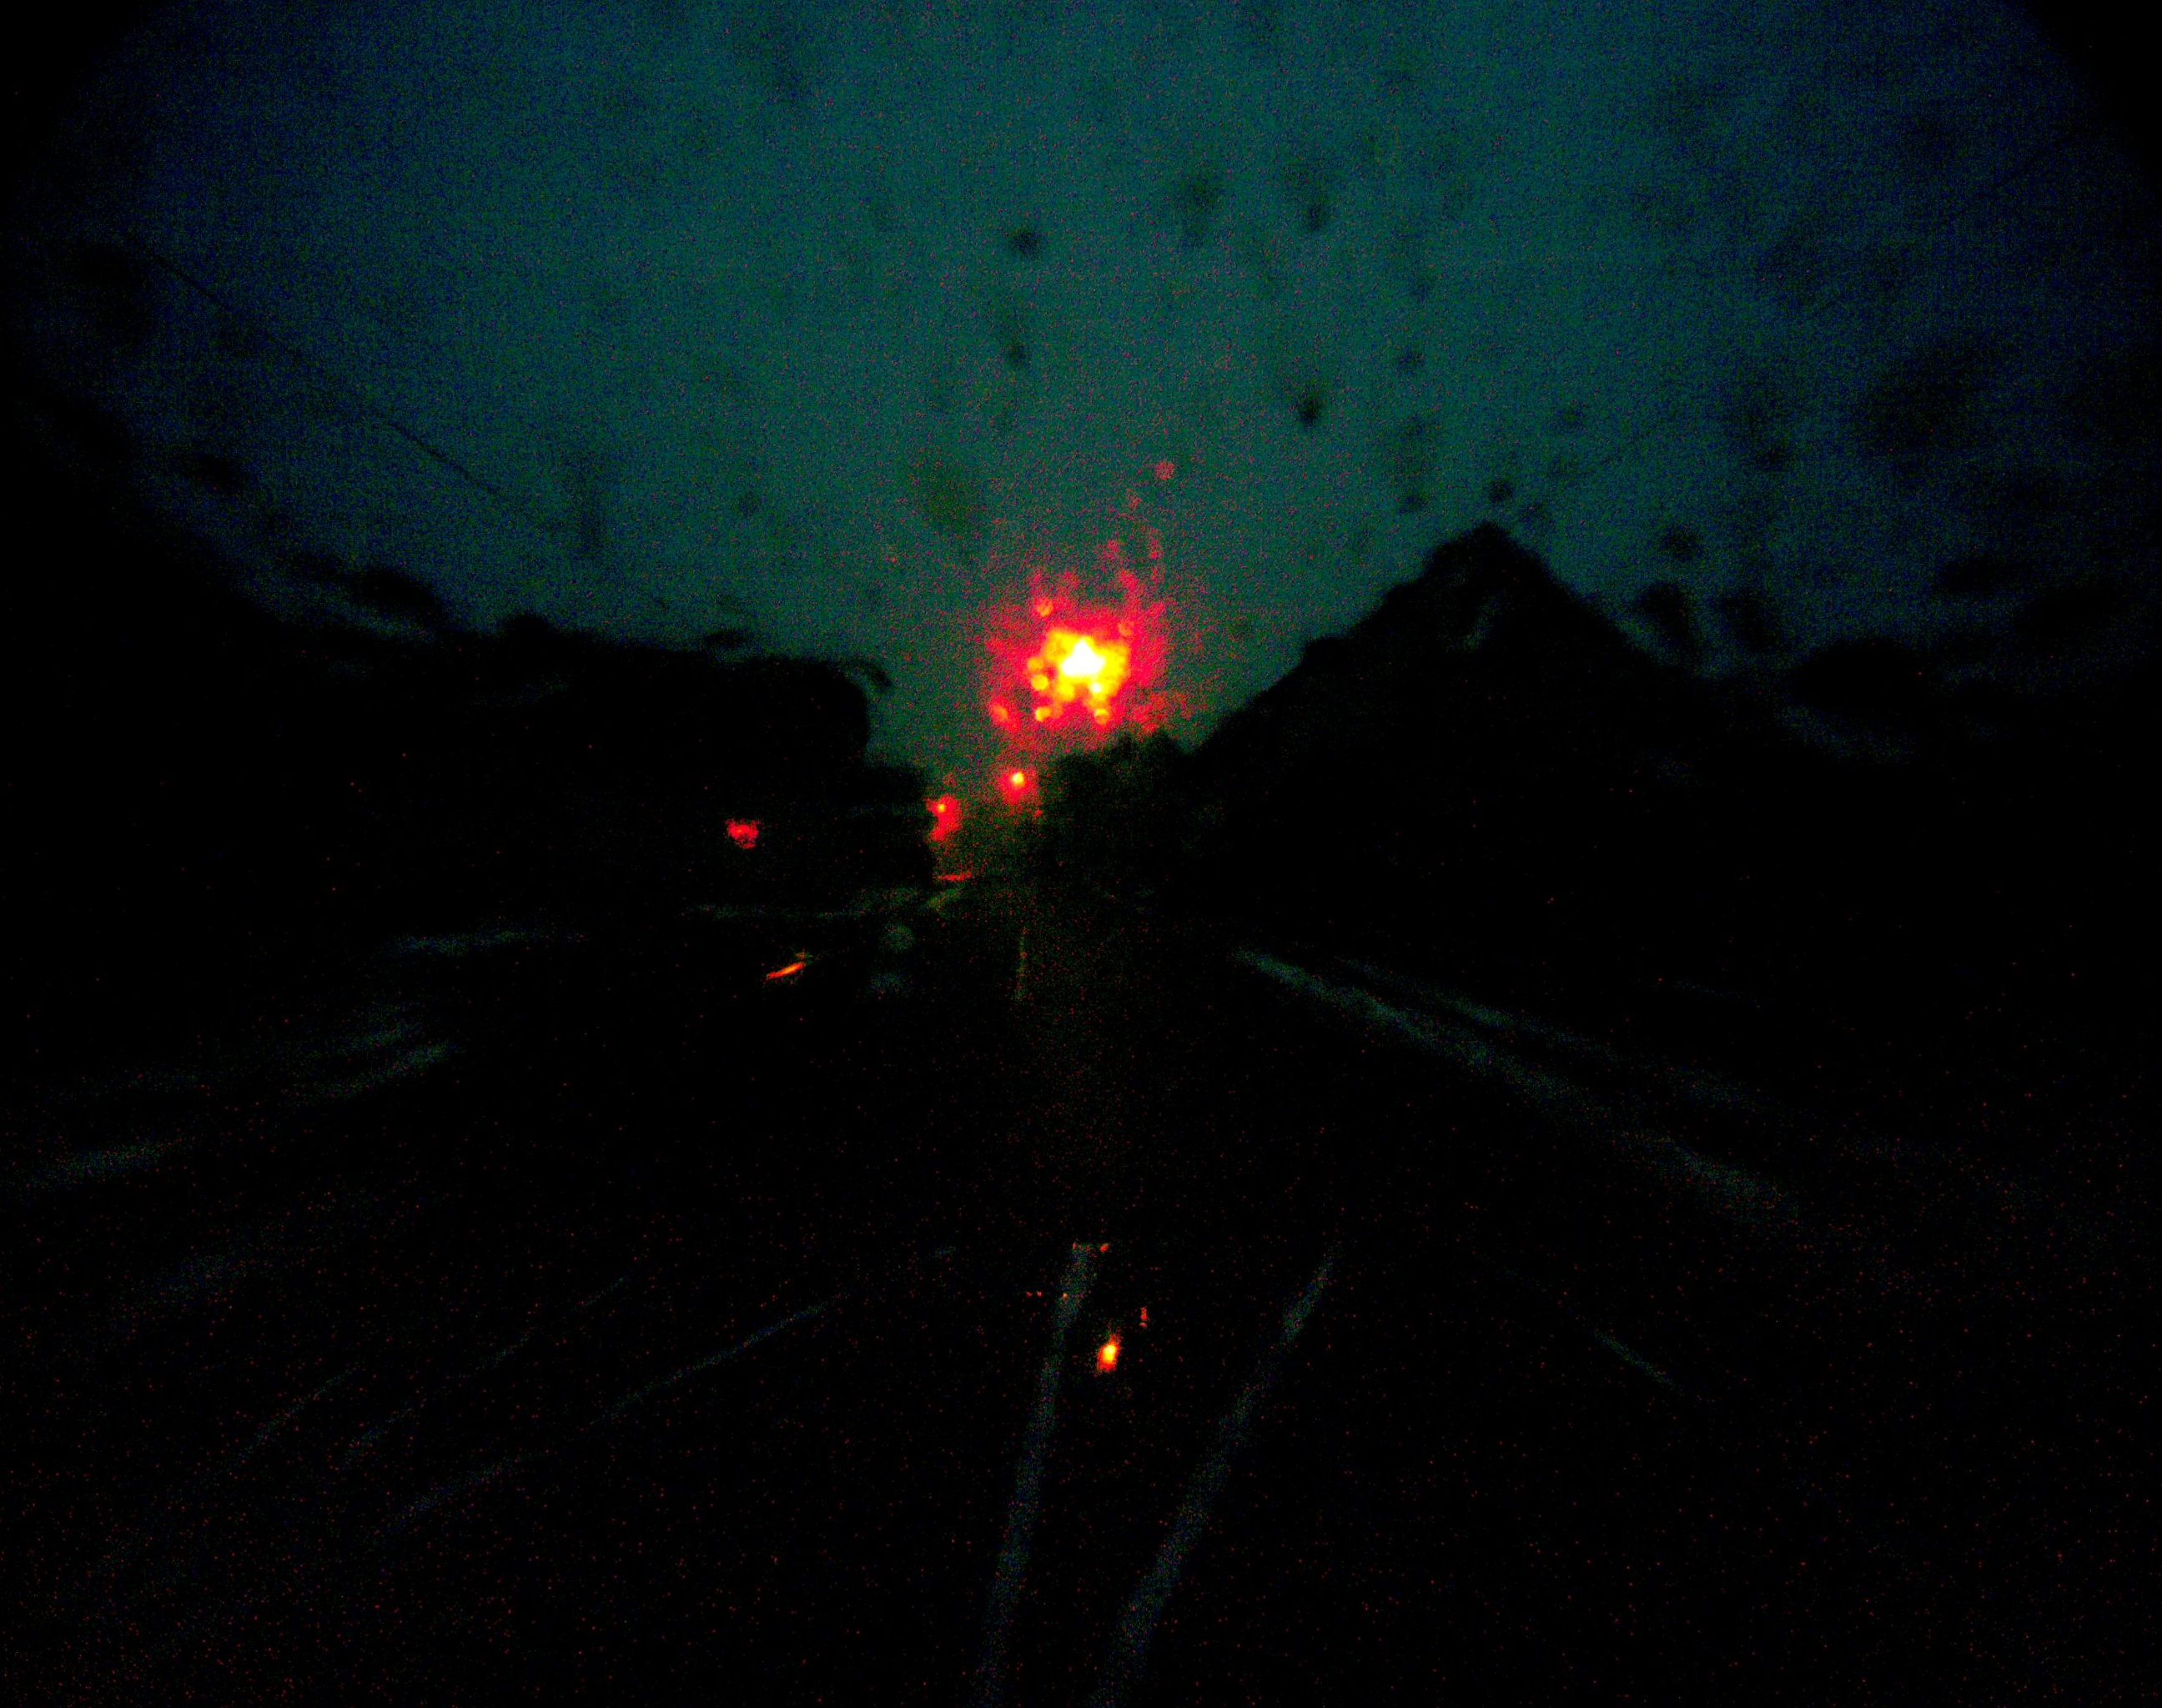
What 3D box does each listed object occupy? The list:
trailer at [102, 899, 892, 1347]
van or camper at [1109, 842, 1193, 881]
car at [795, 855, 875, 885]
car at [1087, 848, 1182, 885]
[{"bbox_3d":[-2.824,1.171,5.313,1.999,1.380,4.730,-2,0,-3],"label":"trailer"},{"bbox_3d":[4.633,0.460,49.984,5.314,2.434,2.140,0,0,-31],"label":"van or camper"},{"bbox_3d":[-14.997,0.957,46.501,4.464,1.578,1.997,-2,1,-17],"label":"car"},{"bbox_3d":[2.798,0.655,40.448,4.804,1.657,1.890,-3,0,-3],"label":"car"}]
